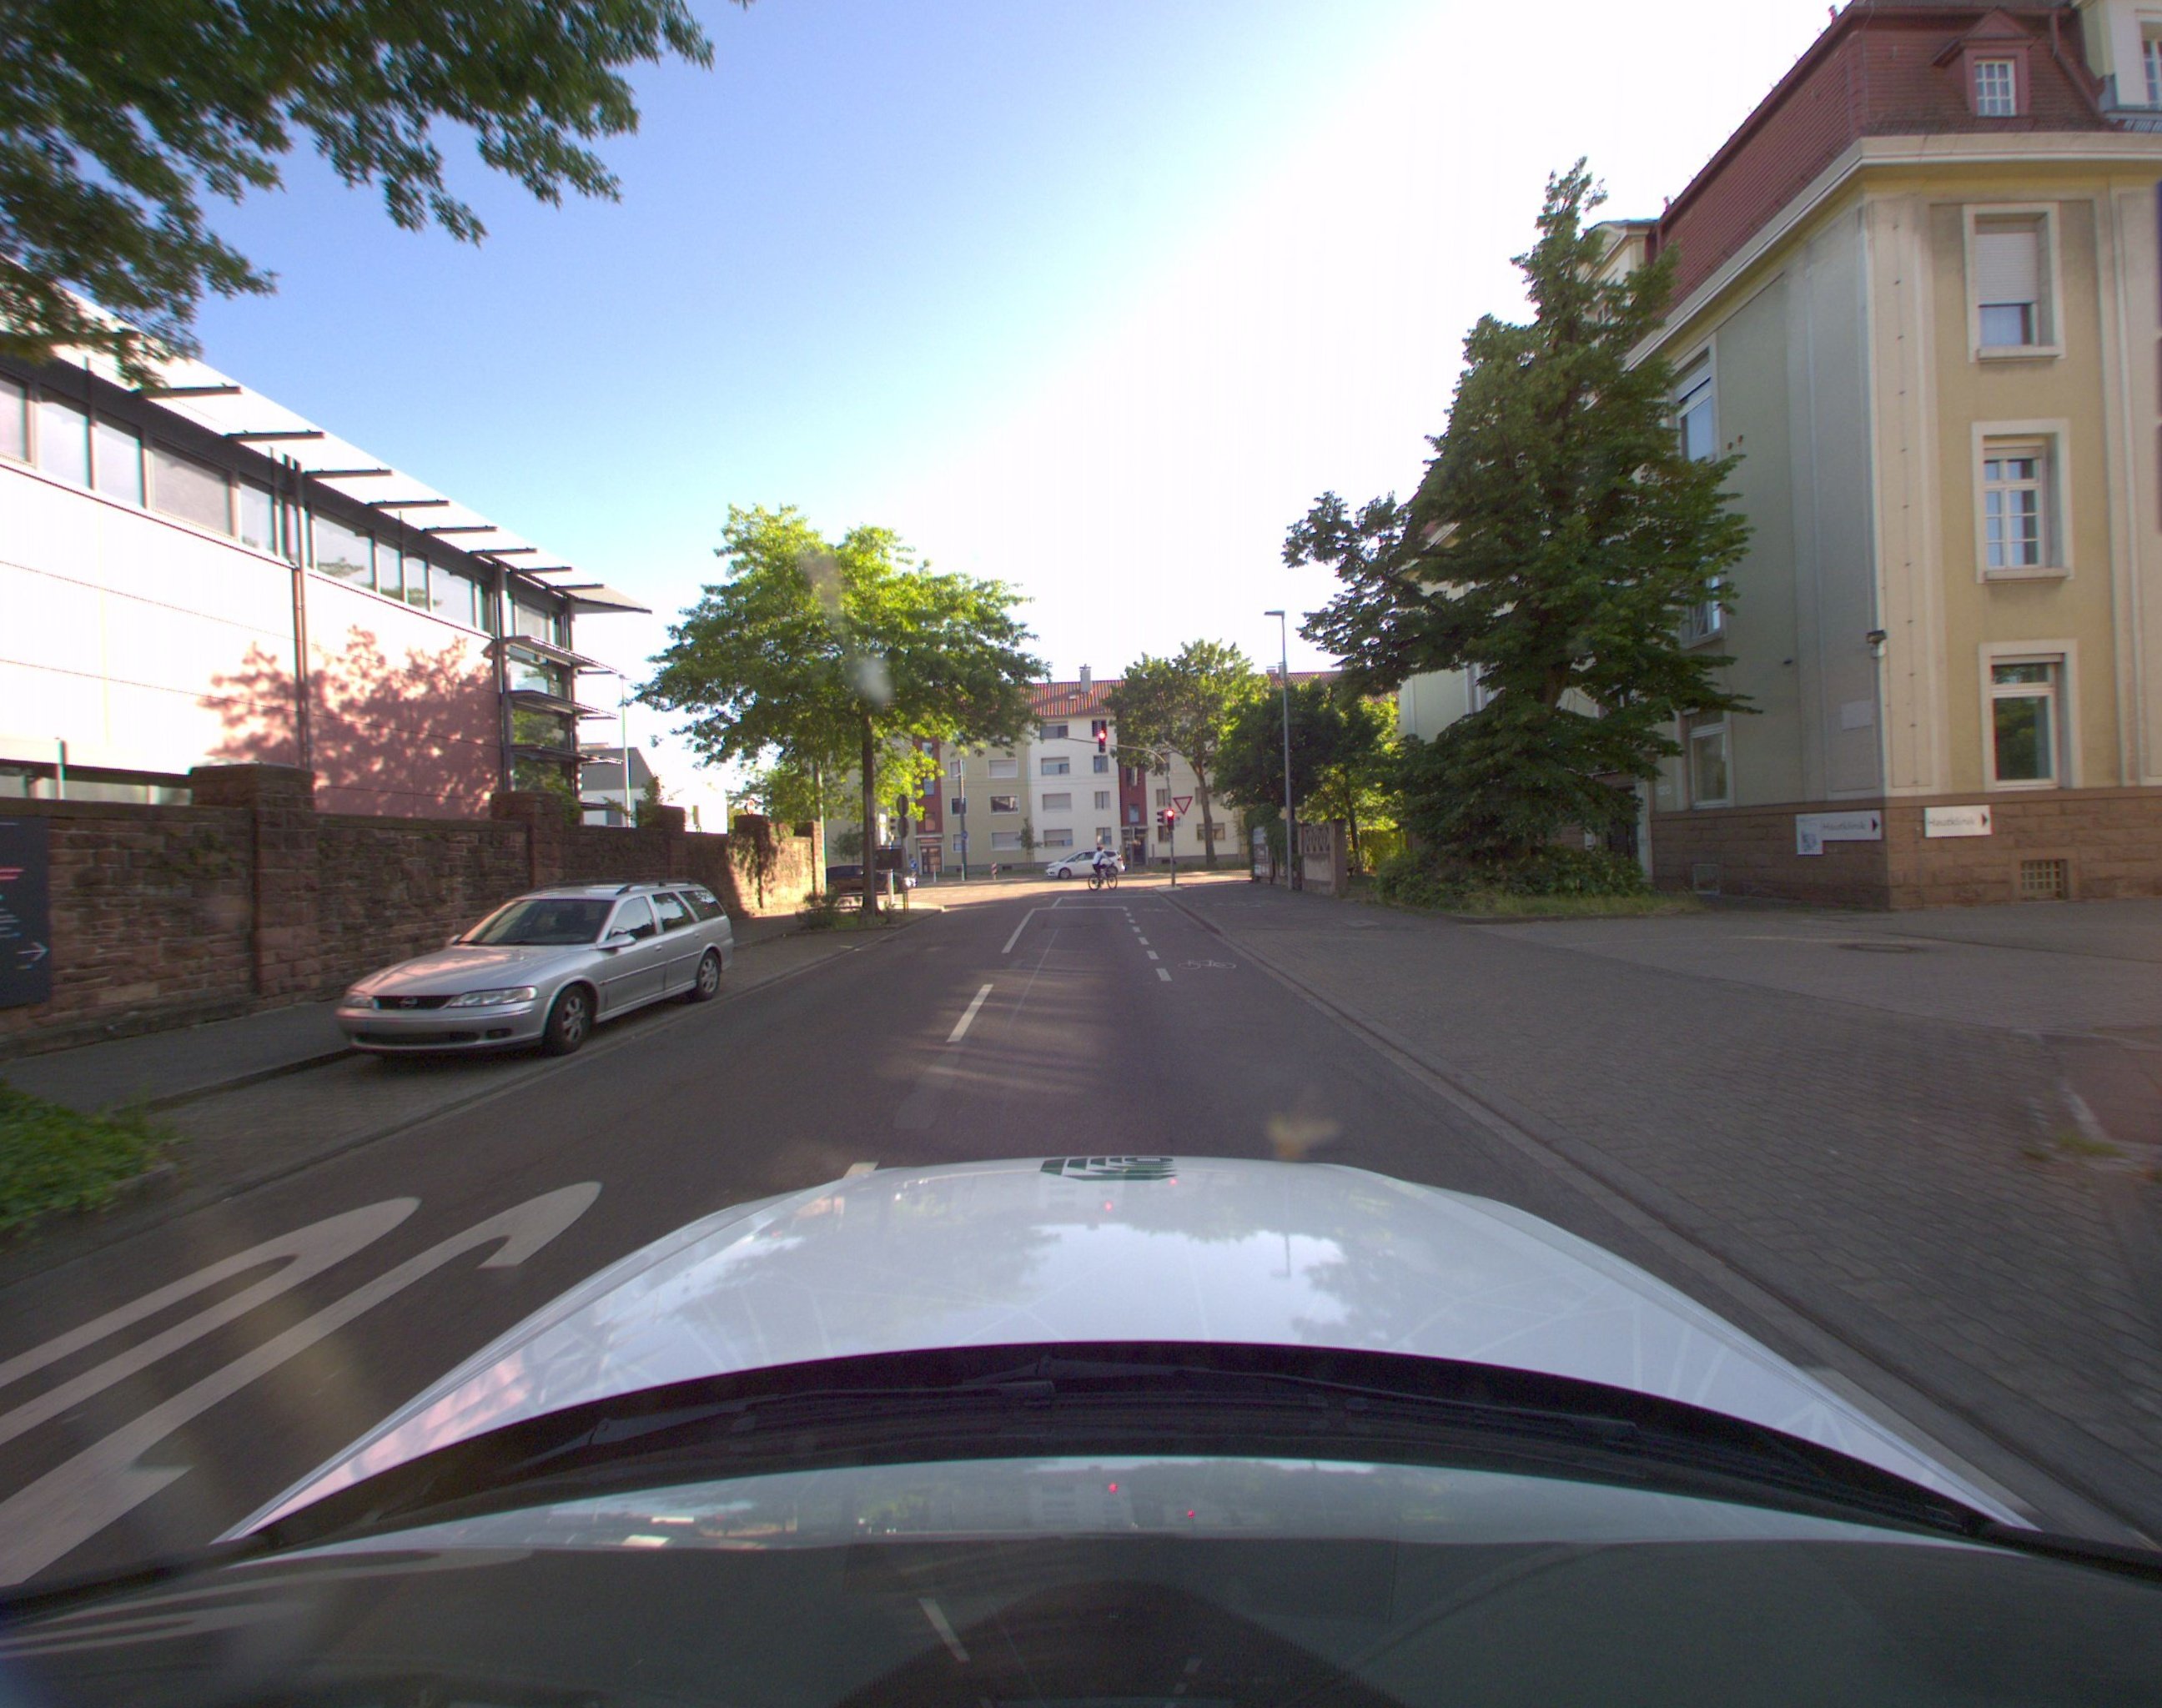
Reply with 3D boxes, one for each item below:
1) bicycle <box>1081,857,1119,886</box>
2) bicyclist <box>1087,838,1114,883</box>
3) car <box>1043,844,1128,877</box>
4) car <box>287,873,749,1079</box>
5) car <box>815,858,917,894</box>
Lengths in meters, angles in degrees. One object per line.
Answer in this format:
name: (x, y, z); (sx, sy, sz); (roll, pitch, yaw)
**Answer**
bicycle: (0.752, 0.686, 32.277); (1.698, 1.080, 0.347); (0, 0, -40)
bicyclist: (0.785, 0.263, 32.334); (0.793, 1.757, 0.605); (-3, 0, -40)
car: (0.248, 0.386, 47.792); (4.664, 1.739, 1.992); (-2, 0, -11)
car: (-5.311, 1.006, 8.599); (1.720, 1.475, 4.478); (0, 0, 0)
car: (-9.690, 0.975, 36.970); (4.190, 1.421, 1.848); (-1, 0, -8)
